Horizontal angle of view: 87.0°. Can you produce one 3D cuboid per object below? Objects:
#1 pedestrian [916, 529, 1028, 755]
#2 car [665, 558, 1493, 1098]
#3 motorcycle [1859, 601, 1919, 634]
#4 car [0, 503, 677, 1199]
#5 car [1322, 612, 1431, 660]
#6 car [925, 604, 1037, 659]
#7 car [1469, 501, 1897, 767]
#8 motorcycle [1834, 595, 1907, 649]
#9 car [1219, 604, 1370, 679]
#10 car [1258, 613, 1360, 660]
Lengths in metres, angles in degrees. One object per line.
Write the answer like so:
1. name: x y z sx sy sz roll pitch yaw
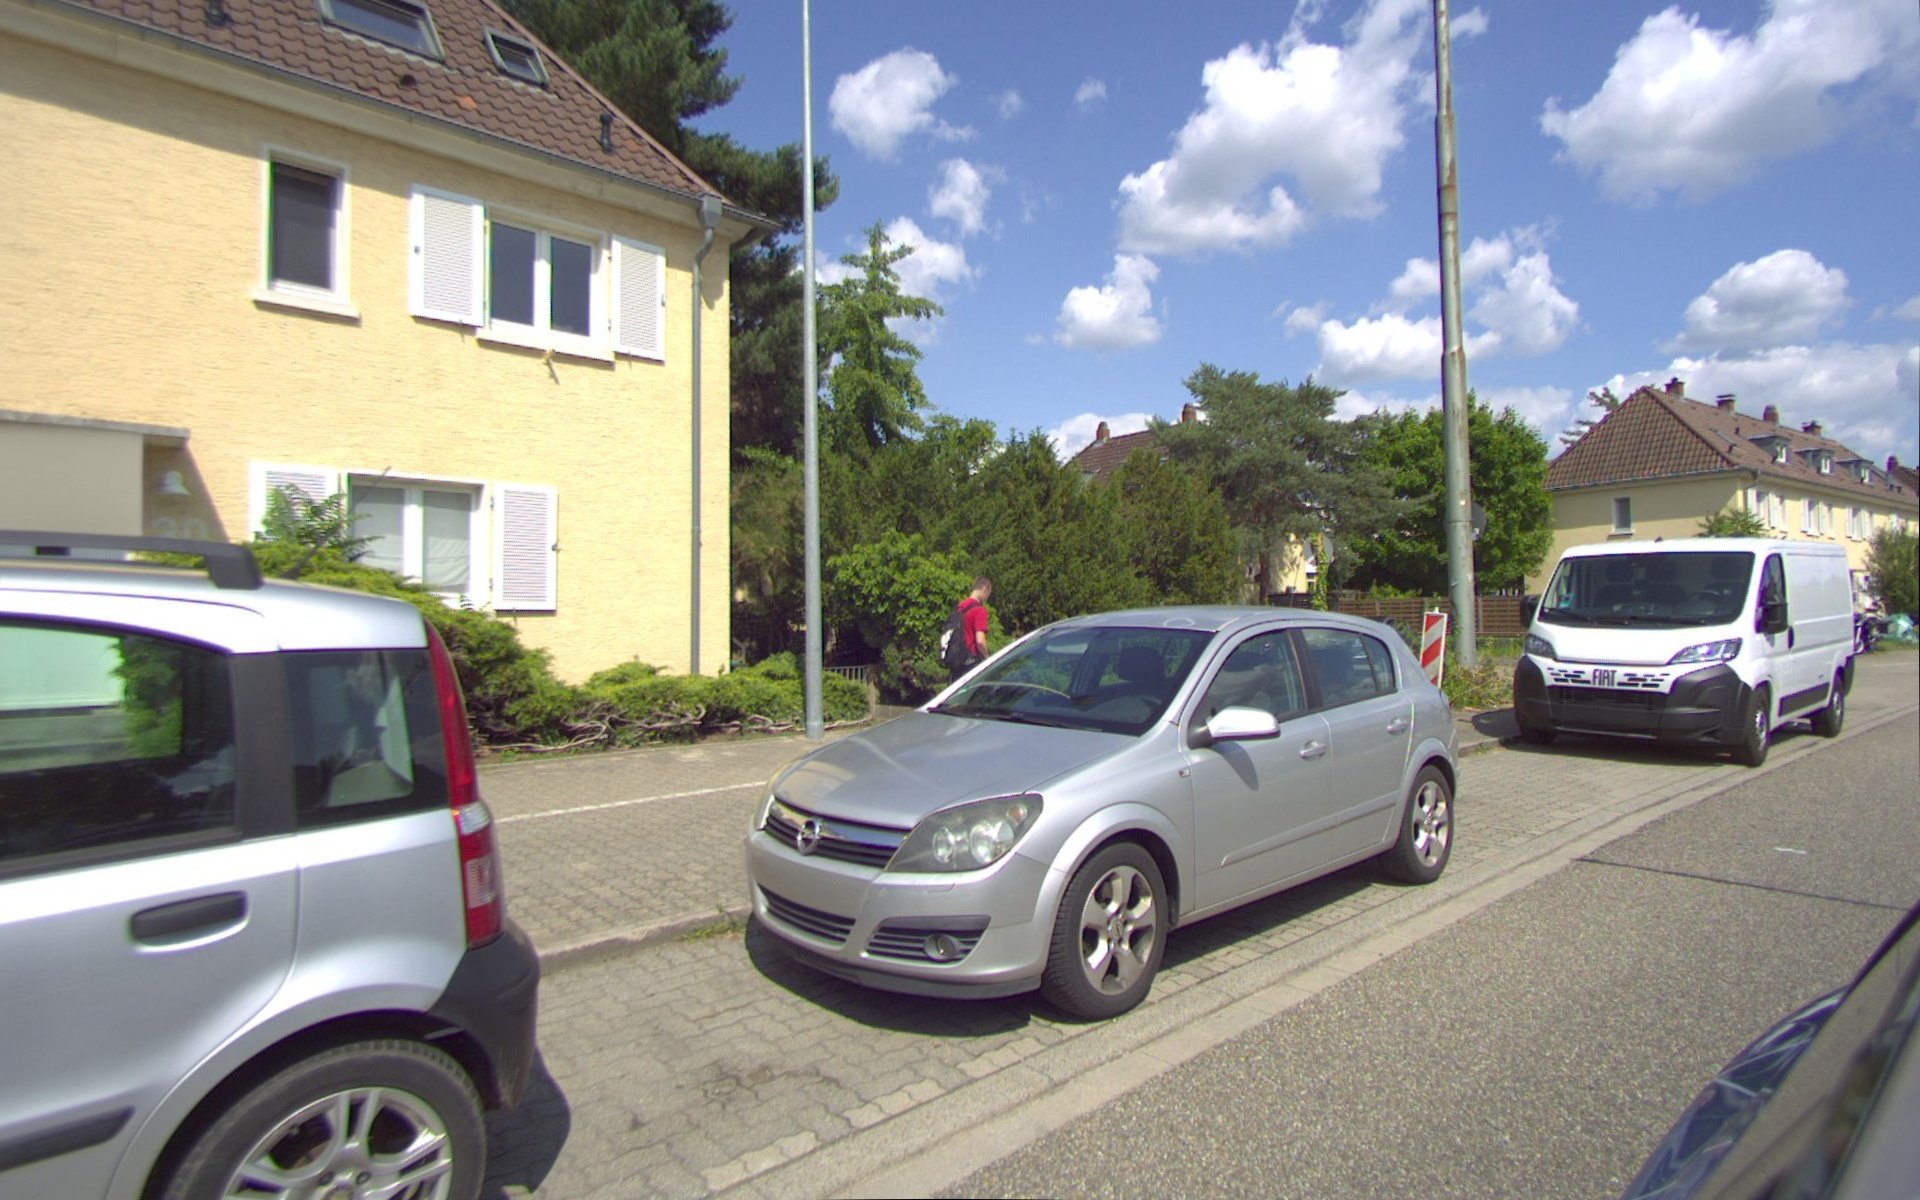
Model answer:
1. pedestrian: 0.114 0.383 9.693 0.748 2.039 0.774 1 -2 -41
2. car: 0.904 0.663 4.930 4.182 1.523 1.709 1 -1 -43
3. motorcycle: 34.712 0.635 37.280 0.837 1.212 2.235 1 -1 -33
4. car: -2.593 0.627 1.723 3.743 1.570 1.630 1 -1 -42
5. car: 12.988 1.122 31.490 3.864 1.416 1.563 2 -2 -41
6. car: 0.670 1.079 35.609 1.703 1.709 4.122 -3 1 -37
7. car: 8.286 0.310 11.294 6.252 2.210 2.282 1 -1 -39
8. motorcycle: 26.585 0.626 29.549 2.536 1.488 1.050 1 1 -36
9. car: 7.790 0.913 23.442 3.743 1.567 1.630 0 -1 -41
10. car: 11.621 1.192 33.570 3.866 1.429 1.541 2 -1 -43
